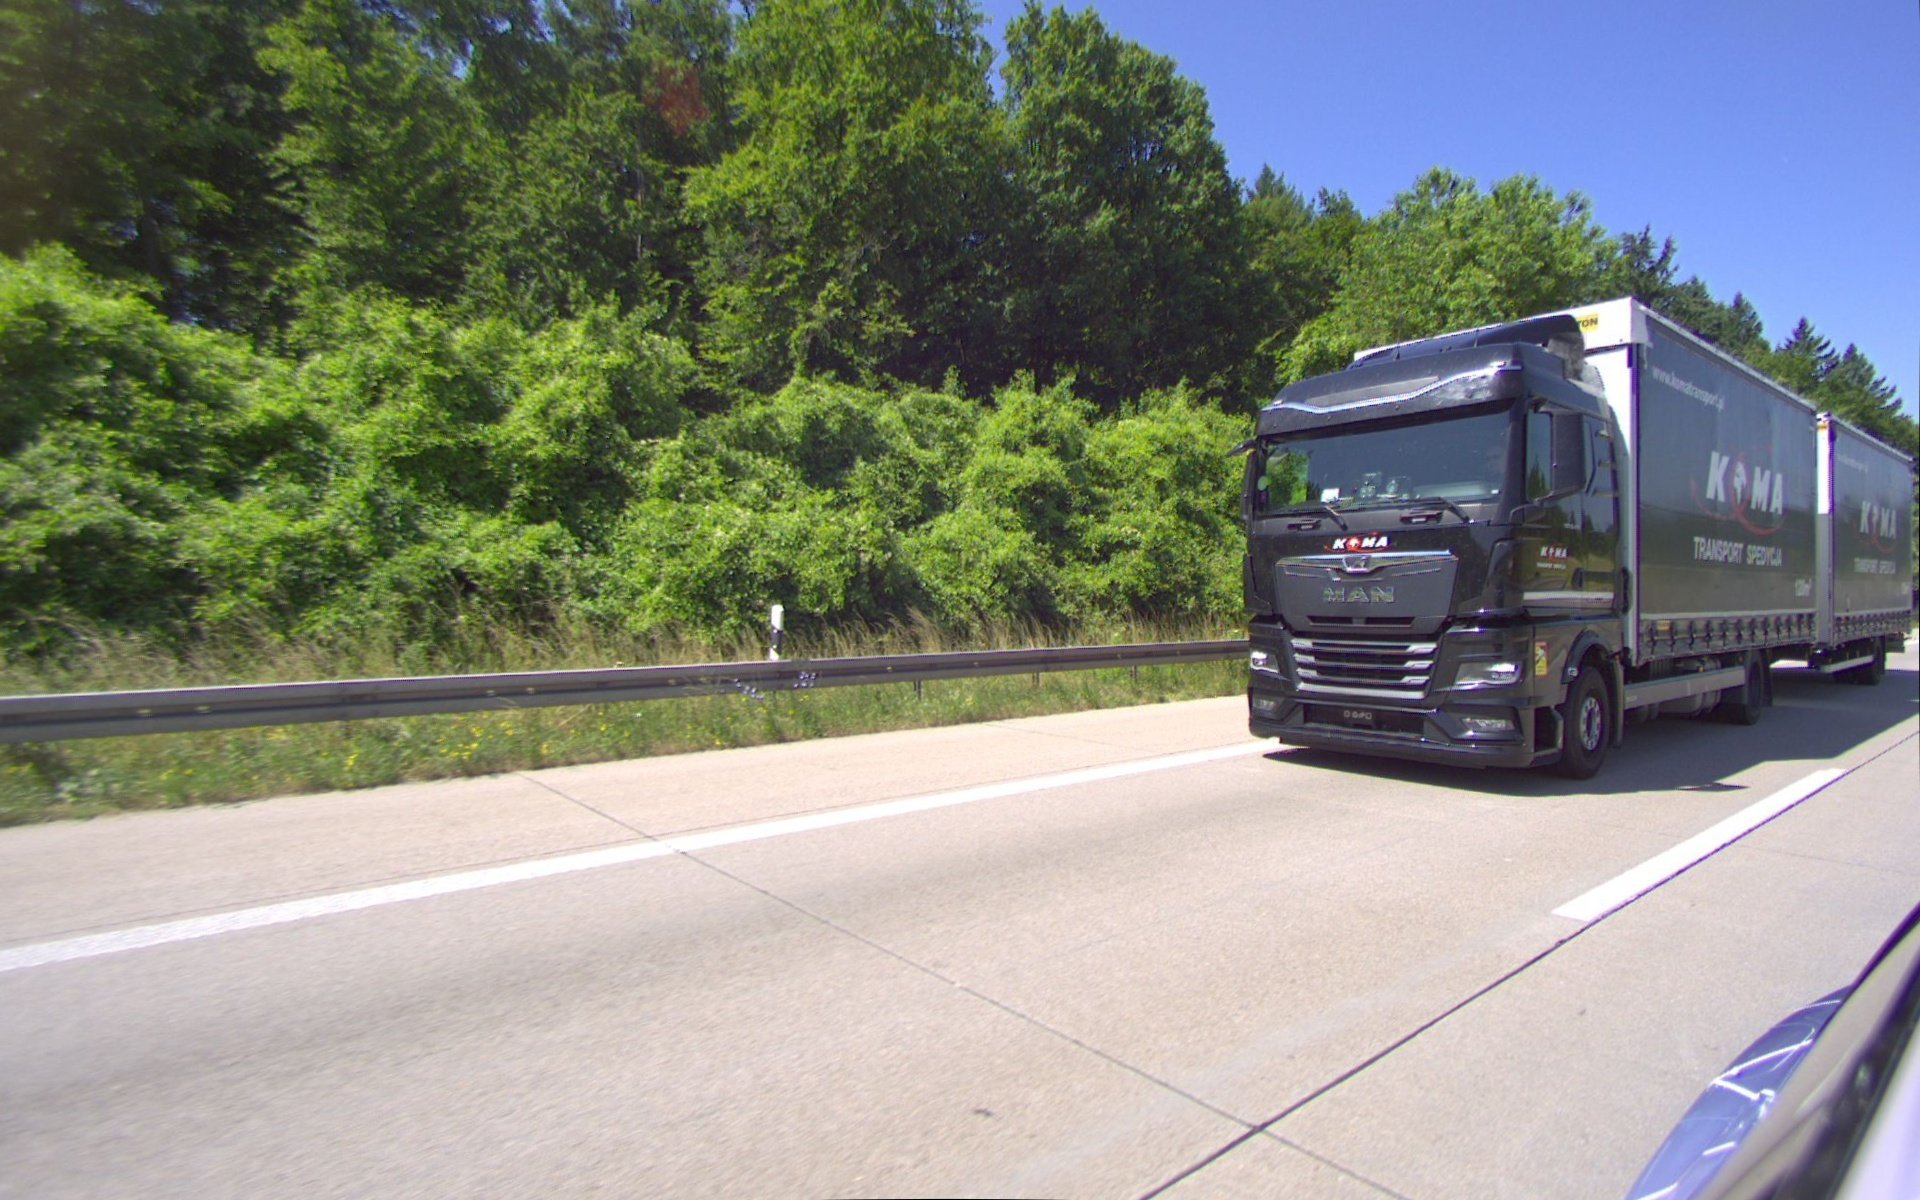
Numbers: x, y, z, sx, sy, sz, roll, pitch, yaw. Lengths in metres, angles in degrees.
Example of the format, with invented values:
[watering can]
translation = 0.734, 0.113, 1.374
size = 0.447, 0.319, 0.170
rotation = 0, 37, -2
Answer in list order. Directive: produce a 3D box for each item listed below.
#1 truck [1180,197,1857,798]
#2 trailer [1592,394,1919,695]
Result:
[truck]
translation = 7.013, -0.719, 11.427
size = 10.419, 4.068, 3.166
rotation = 0, 0, -40
[trailer]
translation = 14.453, -0.771, 17.731
size = 8.927, 4.068, 3.141
rotation = 0, 0, -40
